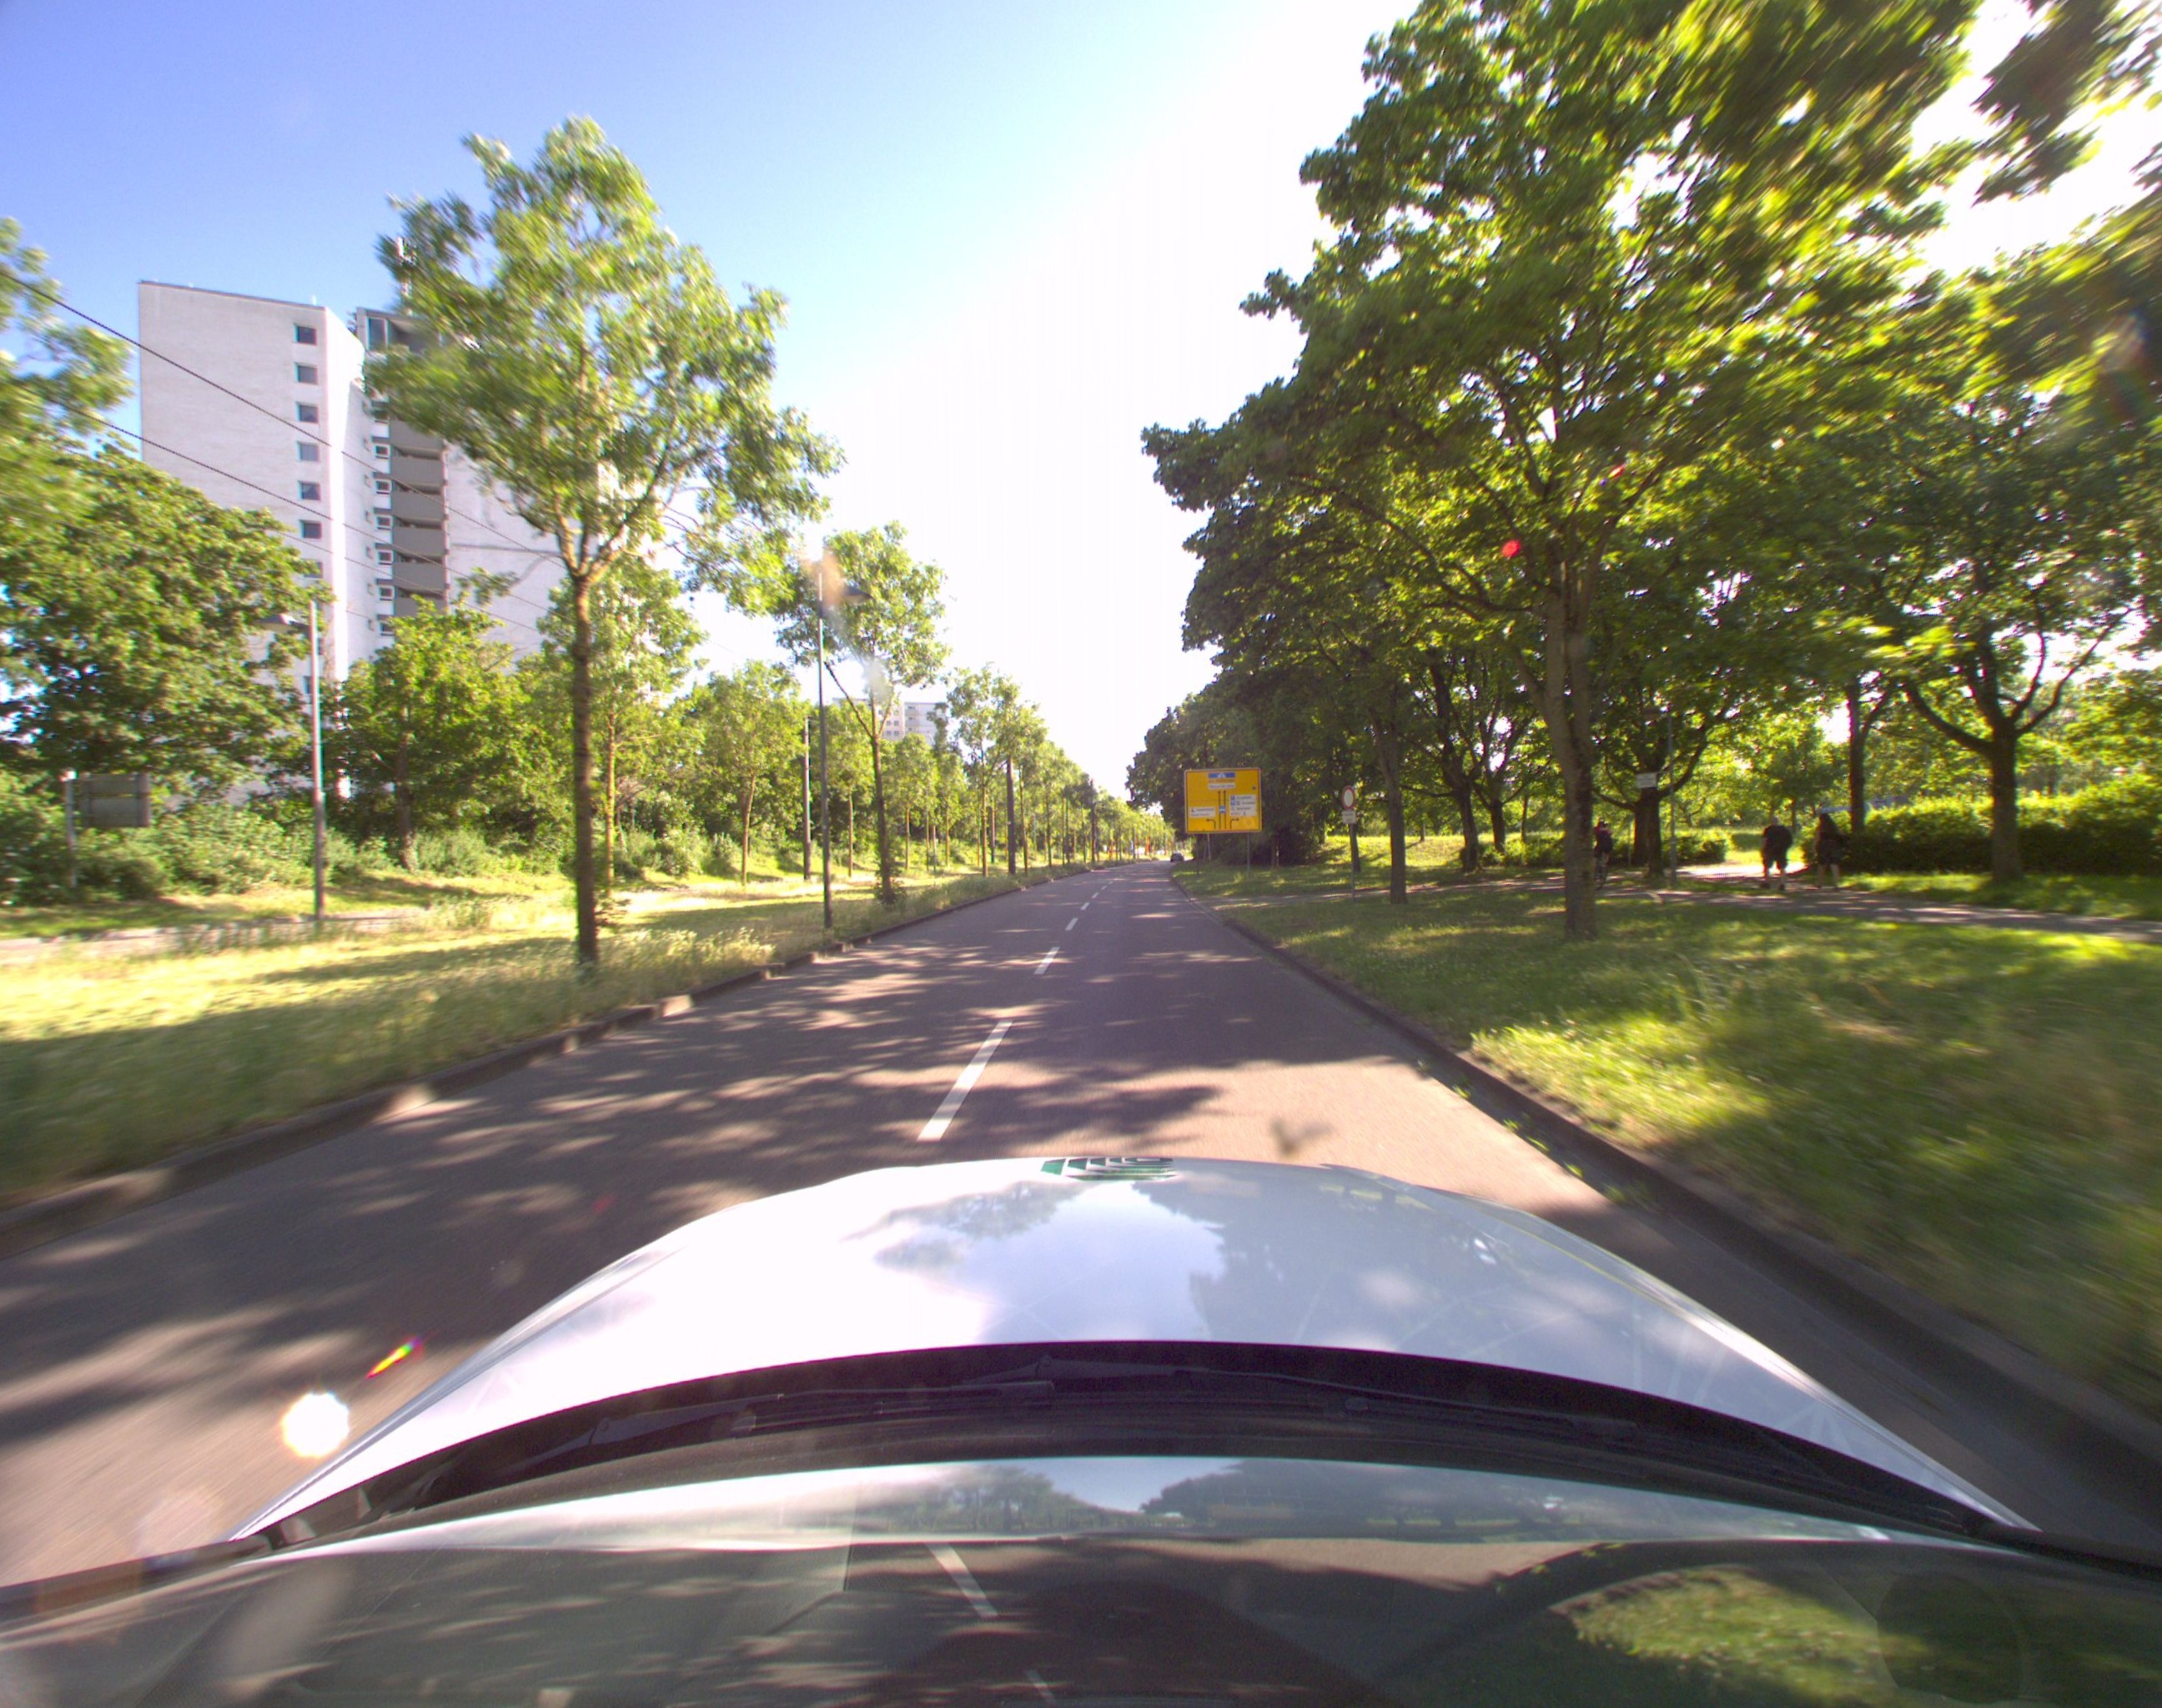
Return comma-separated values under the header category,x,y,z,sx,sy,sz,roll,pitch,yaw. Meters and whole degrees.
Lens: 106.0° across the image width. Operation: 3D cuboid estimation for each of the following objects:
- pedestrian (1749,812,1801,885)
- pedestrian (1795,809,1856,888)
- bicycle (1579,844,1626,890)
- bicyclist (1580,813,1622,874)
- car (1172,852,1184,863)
category,x,y,z,sx,sy,sz,roll,pitch,yaw
pedestrian,15.886,-0.124,18.669,0.543,1.622,0.847,-2,0,13
pedestrian,16.577,-0.117,18.154,0.631,1.691,0.847,-2,0,13
bicycle,12.884,0.296,20.167,0.787,1.047,2.156,-2,0,28
bicyclist,12.872,-0.259,20.172,0.782,1.450,0.850,-2,0,28
car,13.961,0.471,117.327,1.625,1.498,4.245,-1,0,9
